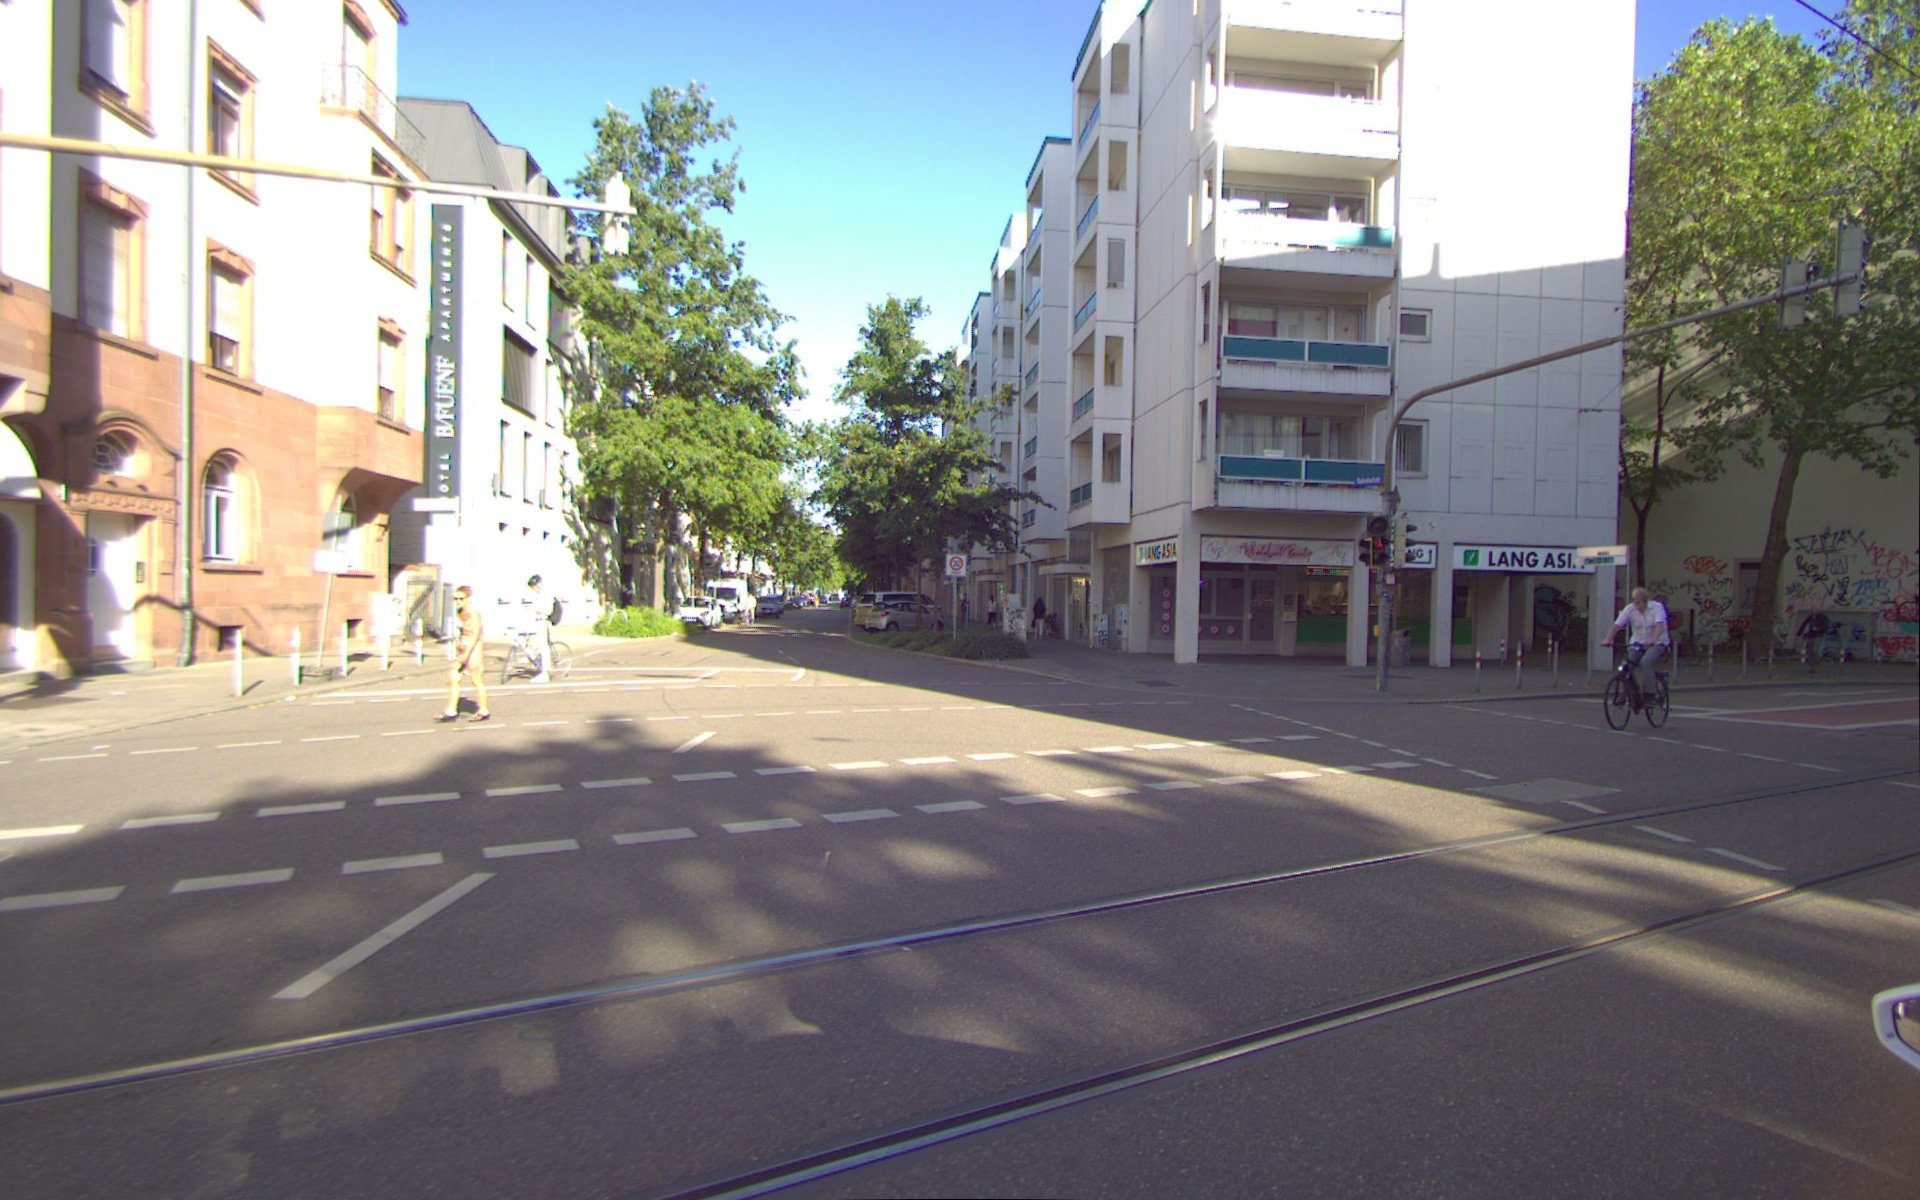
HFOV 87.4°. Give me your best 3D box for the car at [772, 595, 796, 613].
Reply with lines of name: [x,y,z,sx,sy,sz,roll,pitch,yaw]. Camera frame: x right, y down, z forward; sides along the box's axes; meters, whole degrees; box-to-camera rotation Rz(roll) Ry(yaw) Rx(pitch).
car: [-16.082,0.359,92.028,1.963,1.547,3.995,1,0,-7]

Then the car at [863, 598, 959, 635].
car: [-2.176,0.715,44.422,3.951,1.506,1.593,0,3,-29]

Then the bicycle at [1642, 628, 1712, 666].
bicycle: [21.821,1.409,30.621,0.652,1.048,1.921,1,0,-3]

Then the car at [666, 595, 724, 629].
car: [-12.469,0.543,47.465,1.962,1.483,3.996,1,0,-5]

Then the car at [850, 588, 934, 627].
car: [-3.349,0.380,49.996,3.964,1.900,1.588,1,0,-38]

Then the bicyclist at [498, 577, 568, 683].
bicyclist: [-7.420,0.509,17.481,0.603,1.787,0.974,1,0,21]

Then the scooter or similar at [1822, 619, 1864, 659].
scooter or similar: [28.859,1.267,32.833,0.762,1.238,0.929,1,0,-42]

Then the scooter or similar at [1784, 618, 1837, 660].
scooter or similar: [27.625,1.253,32.625,0.762,1.275,1.217,1,0,-41]

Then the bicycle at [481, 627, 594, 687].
bicycle: [-7.379,0.973,17.641,0.776,0.921,1.814,1,0,21]

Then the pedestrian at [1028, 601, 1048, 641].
pedestrian: [2.982,0.790,38.313,0.703,1.514,0.744,1,0,5]

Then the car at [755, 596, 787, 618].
car: [-13.940,0.464,74.237,1.963,1.547,3.995,1,0,-7]

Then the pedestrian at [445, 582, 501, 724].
pedestrian: [-5.597,0.589,11.533,0.510,1.573,0.540,1,1,-31]

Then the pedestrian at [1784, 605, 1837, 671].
pedestrian: [23.689,1.044,27.989,1.010,1.789,0.681,1,0,-19]

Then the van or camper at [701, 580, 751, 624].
van or camper: [-13.383,0.104,57.684,1.962,2.397,5.471,1,0,-5]

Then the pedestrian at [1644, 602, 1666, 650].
pedestrian: [25.406,0.947,36.721,0.541,1.741,0.453,1,0,-31]

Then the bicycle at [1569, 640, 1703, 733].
bicycle: [9.074,1.121,13.466,2.060,1.135,0.689,1,-1,-31]

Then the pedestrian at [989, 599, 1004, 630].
pedestrian: [1.783,0.709,49.422,0.703,1.514,0.744,1,0,1]

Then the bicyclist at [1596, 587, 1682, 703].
bicyclist: [9.107,0.588,13.474,0.769,1.503,0.679,1,0,-31]
